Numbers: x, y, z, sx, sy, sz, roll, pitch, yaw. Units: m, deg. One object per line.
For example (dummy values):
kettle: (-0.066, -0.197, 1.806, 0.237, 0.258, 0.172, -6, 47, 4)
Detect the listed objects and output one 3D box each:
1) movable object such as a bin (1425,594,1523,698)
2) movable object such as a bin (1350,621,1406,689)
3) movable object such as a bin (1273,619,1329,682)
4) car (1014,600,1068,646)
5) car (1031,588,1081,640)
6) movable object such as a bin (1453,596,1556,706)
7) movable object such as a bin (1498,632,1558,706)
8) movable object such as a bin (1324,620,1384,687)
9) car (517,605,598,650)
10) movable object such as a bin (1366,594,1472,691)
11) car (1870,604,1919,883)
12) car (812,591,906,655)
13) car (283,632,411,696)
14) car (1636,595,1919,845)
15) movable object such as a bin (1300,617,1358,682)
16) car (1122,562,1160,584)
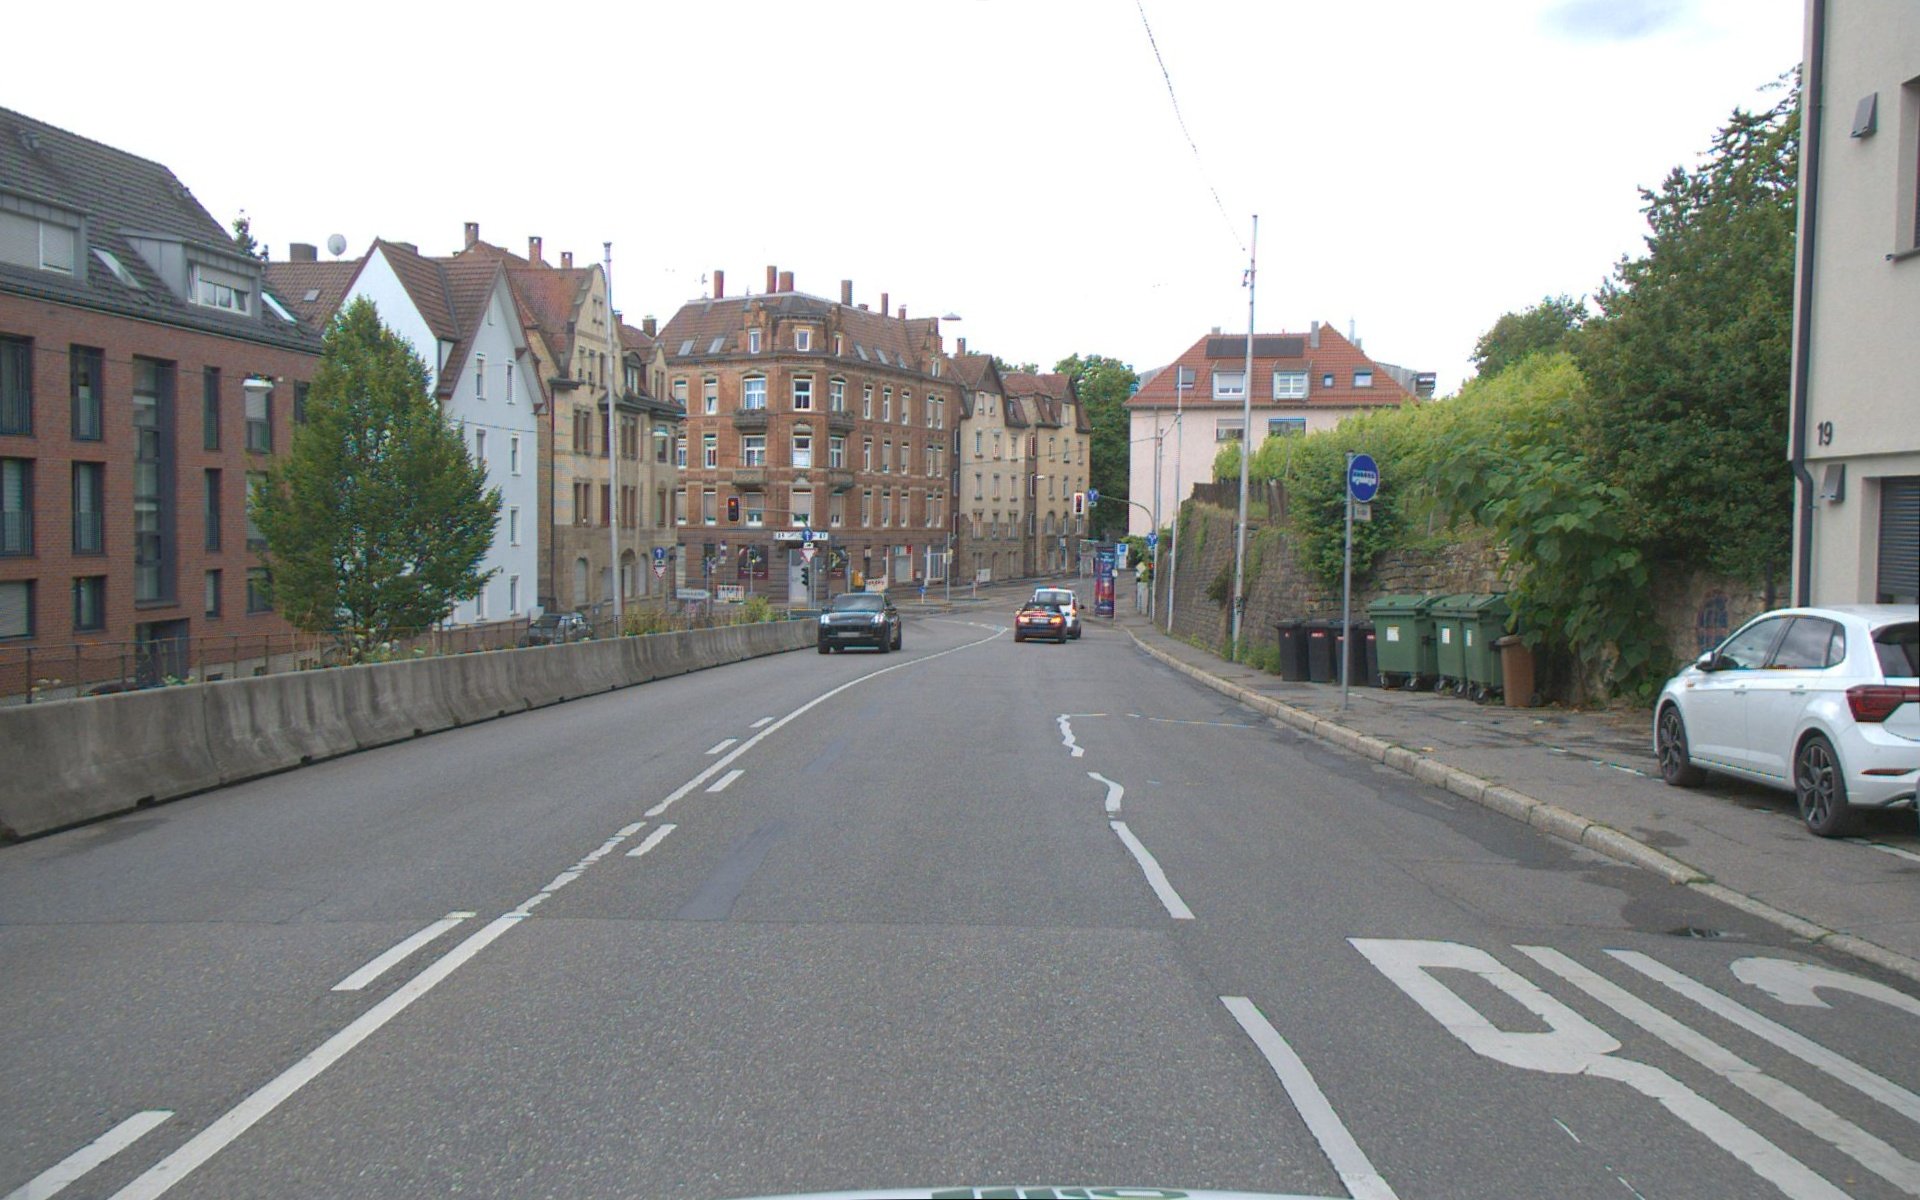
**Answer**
movable object such as a bin: (7.502, 0.657, 24.185, 1.026, 1.470, 1.204, 0, 0, -3)
movable object such as a bin: (6.771, 0.884, 26.794, 0.697, 1.077, 0.545, 0, 0, -16)
movable object such as a bin: (5.932, 0.875, 28.793, 0.730, 1.077, 0.676, 0, 0, -16)
car: (2.878, 0.791, 58.271, 1.778, 1.455, 4.002, 2, 1, 4)
car: (3.806, 0.529, 65.307, 1.869, 1.917, 4.002, 2, 0, 4)
movable object such as a bin: (7.491, 0.686, 22.821, 1.026, 1.470, 1.205, 0, 0, 0)
movable object such as a bin: (7.491, 0.904, 21.841, 0.582, 0.958, 0.640, 0, 0, 0)
movable object such as a bin: (6.528, 0.879, 27.401, 0.730, 1.077, 0.676, 0, 0, -16)
car: (-15.684, 1.062, 64.669, 1.756, 1.536, 4.004, 0, 2, 7)
movable object such as a bin: (7.158, 0.645, 25.842, 1.030, 1.470, 1.413, 0, 0, -15)
car: (5.907, 0.780, 6.904, 1.757, 1.476, 4.720, -3, 1, 3)
car: (-2.697, 0.589, 45.256, 1.940, 1.602, 4.378, -1, 0, 5)
car: (-17.937, 1.852, 48.632, 1.756, 1.636, 4.218, -1, 0, 7)
car: (6.476, 0.718, 11.902, 1.756, 1.448, 4.006, -1, 0, 3)
movable object such as a bin: (6.277, 0.840, 28.159, 0.730, 1.077, 0.676, 0, 0, -16)
car: (14.781, -2.233, 134.951, 1.805, 1.732, 3.997, 2, 2, 26)
